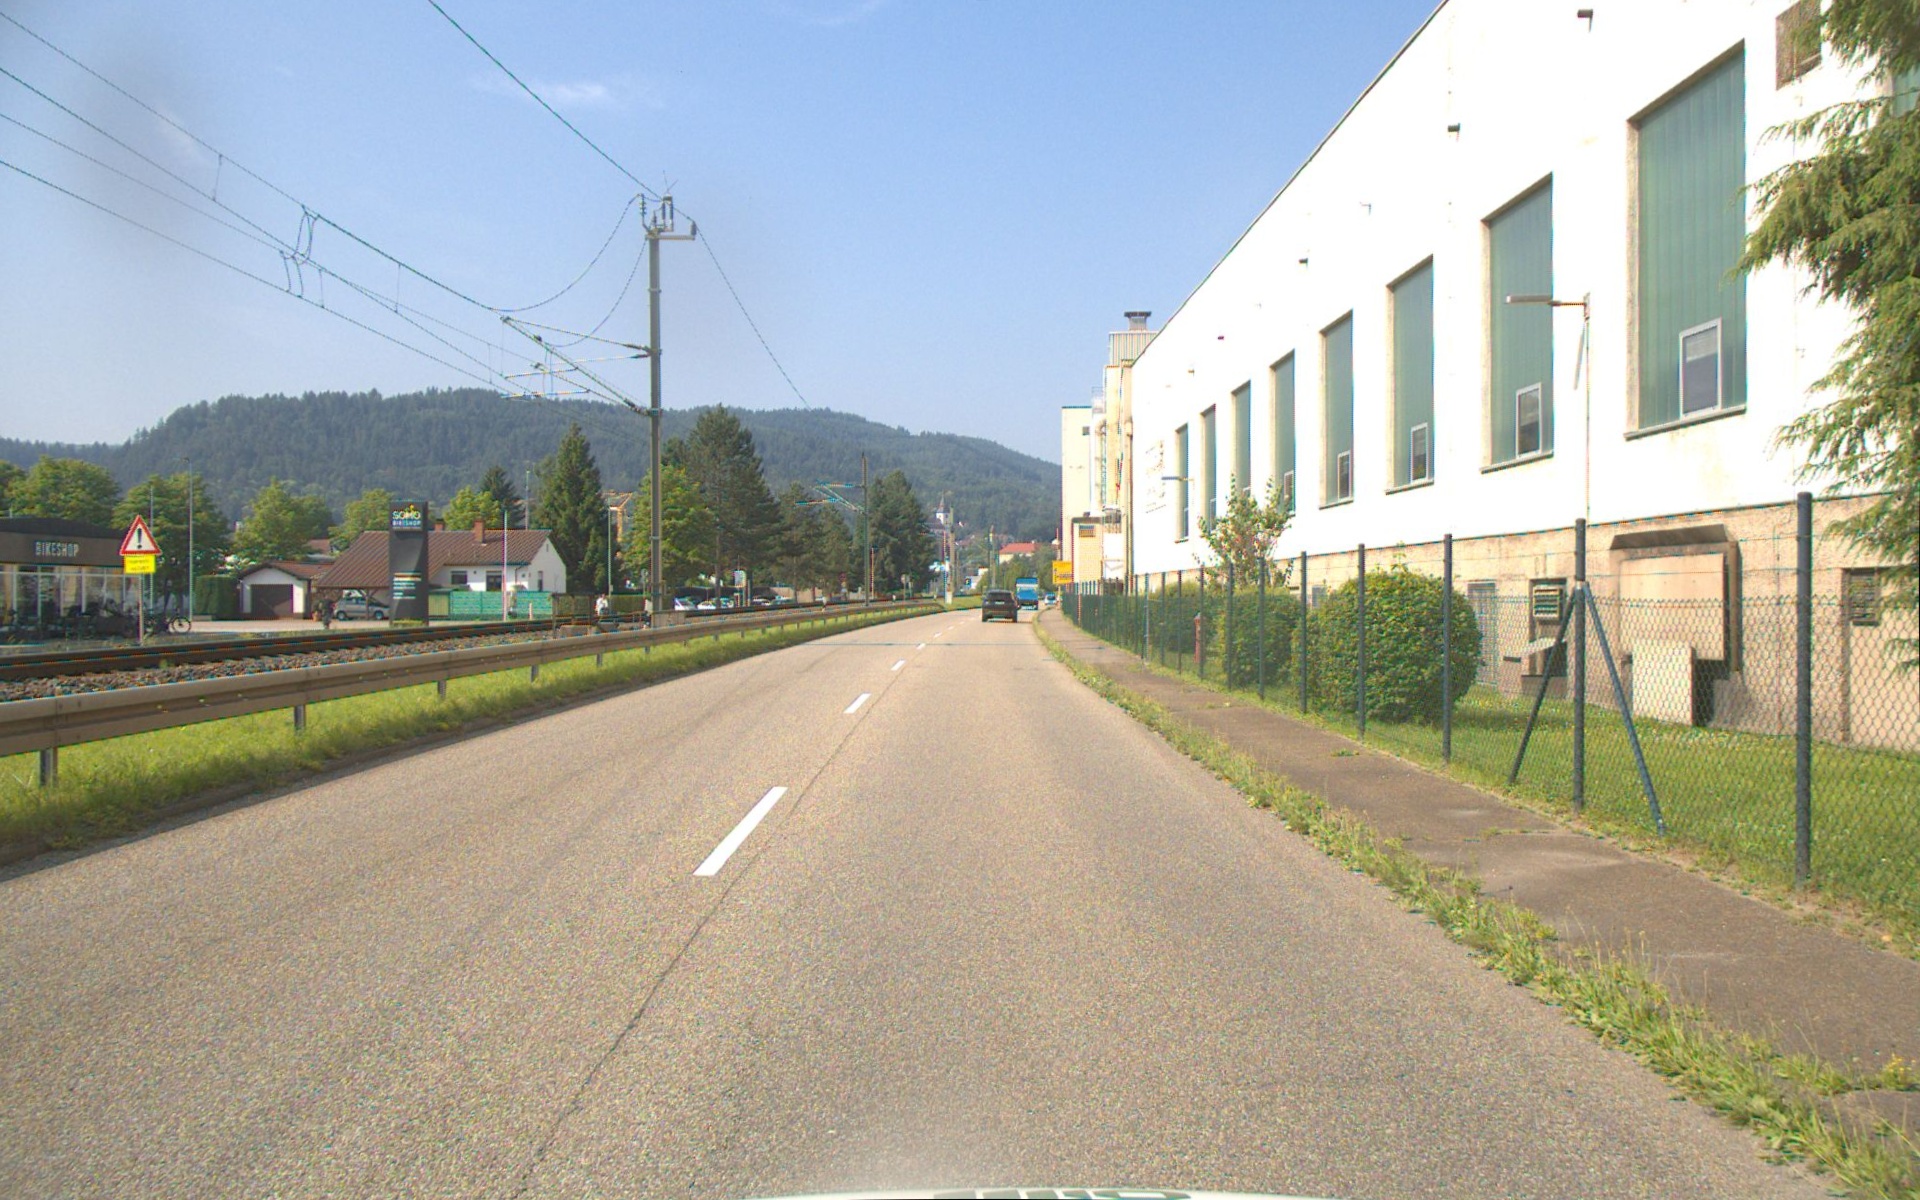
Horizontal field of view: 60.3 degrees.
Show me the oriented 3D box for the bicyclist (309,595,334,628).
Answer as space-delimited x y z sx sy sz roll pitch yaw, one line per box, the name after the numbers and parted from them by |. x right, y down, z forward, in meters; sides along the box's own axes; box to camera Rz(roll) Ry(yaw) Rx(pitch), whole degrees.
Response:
-31.722 0.563 82.147 0.730 1.648 1.146 -1 0 4 | bicyclist

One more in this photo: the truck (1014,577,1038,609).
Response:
6.474 -0.713 162.016 2.264 3.022 5.968 0 0 2 | truck

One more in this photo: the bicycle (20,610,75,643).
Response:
-32.738 0.951 59.377 0.712 1.150 2.175 -1 0 2 | bicycle

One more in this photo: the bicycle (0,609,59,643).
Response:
-32.264 0.889 56.873 2.123 1.150 0.730 -1 0 0 | bicycle

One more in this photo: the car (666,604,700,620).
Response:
-27.428 1.182 163.627 1.672 1.469 3.798 -1 0 -39 | car

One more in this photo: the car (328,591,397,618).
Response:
-38.472 0.282 106.573 3.755 1.680 1.713 -1 0 3 | car

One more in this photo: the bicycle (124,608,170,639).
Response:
-30.805 0.879 62.707 0.713 1.150 2.174 0 0 -1 | bicycle

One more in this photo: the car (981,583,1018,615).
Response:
2.062 -0.072 87.381 1.880 1.668 4.000 0 0 1 | car

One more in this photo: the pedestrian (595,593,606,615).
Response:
-22.191 0.233 102.053 0.562 1.355 0.673 -1 0 -5 | pedestrian

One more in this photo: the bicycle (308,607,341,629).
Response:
-31.580 0.873 82.180 0.739 1.035 1.963 -1 0 4 | bicycle

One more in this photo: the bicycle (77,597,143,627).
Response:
-32.828 0.460 63.901 2.127 1.150 0.728 0 0 -10 | bicycle

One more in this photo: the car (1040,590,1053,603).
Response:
11.845 -0.475 225.683 1.632 1.855 3.754 0 0 6 | car

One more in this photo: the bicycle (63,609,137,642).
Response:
-30.978 0.896 59.633 0.715 1.150 2.315 -1 0 34 | bicycle

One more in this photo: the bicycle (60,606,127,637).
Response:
-32.566 0.792 62.175 2.123 1.150 0.730 -1 0 0 | bicycle

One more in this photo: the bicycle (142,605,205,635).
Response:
-31.404 0.789 66.050 2.127 1.150 0.728 0 0 -10 | bicycle

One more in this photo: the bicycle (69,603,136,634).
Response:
-32.707 0.700 63.131 2.127 1.150 0.728 0 0 -10 | bicycle
